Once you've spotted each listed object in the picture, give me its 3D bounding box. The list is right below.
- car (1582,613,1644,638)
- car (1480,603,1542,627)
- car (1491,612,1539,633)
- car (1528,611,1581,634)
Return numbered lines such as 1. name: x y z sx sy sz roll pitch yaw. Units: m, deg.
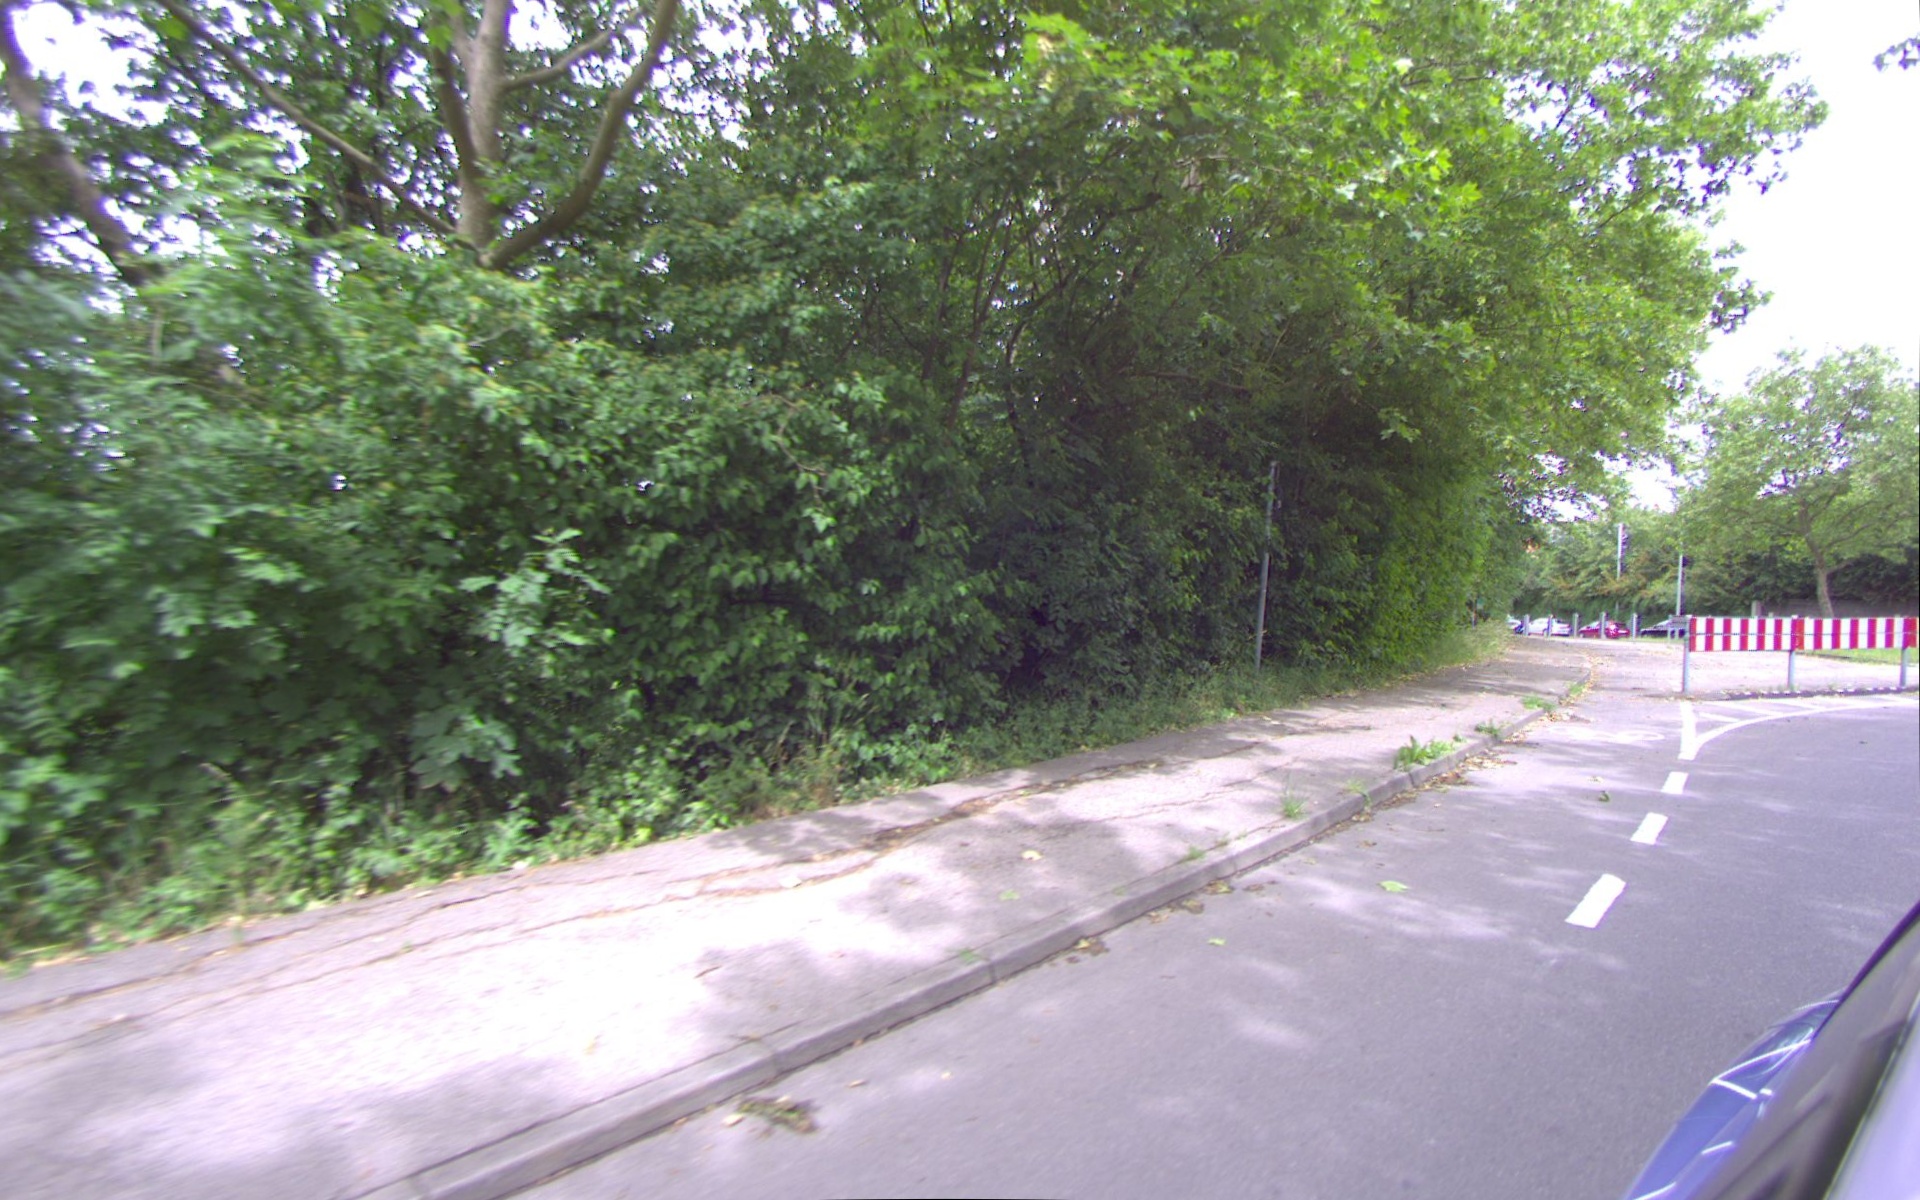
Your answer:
1. car: 45.163 1.746 70.090 1.655 1.523 3.832 5 0 -1
2. car: 36.988 0.997 68.047 1.764 1.446 4.146 5 0 0
3. car: 45.143 1.827 82.383 1.655 1.523 3.832 5 0 -1
4. car: 45.088 1.718 76.811 1.655 1.523 3.832 5 0 -1
